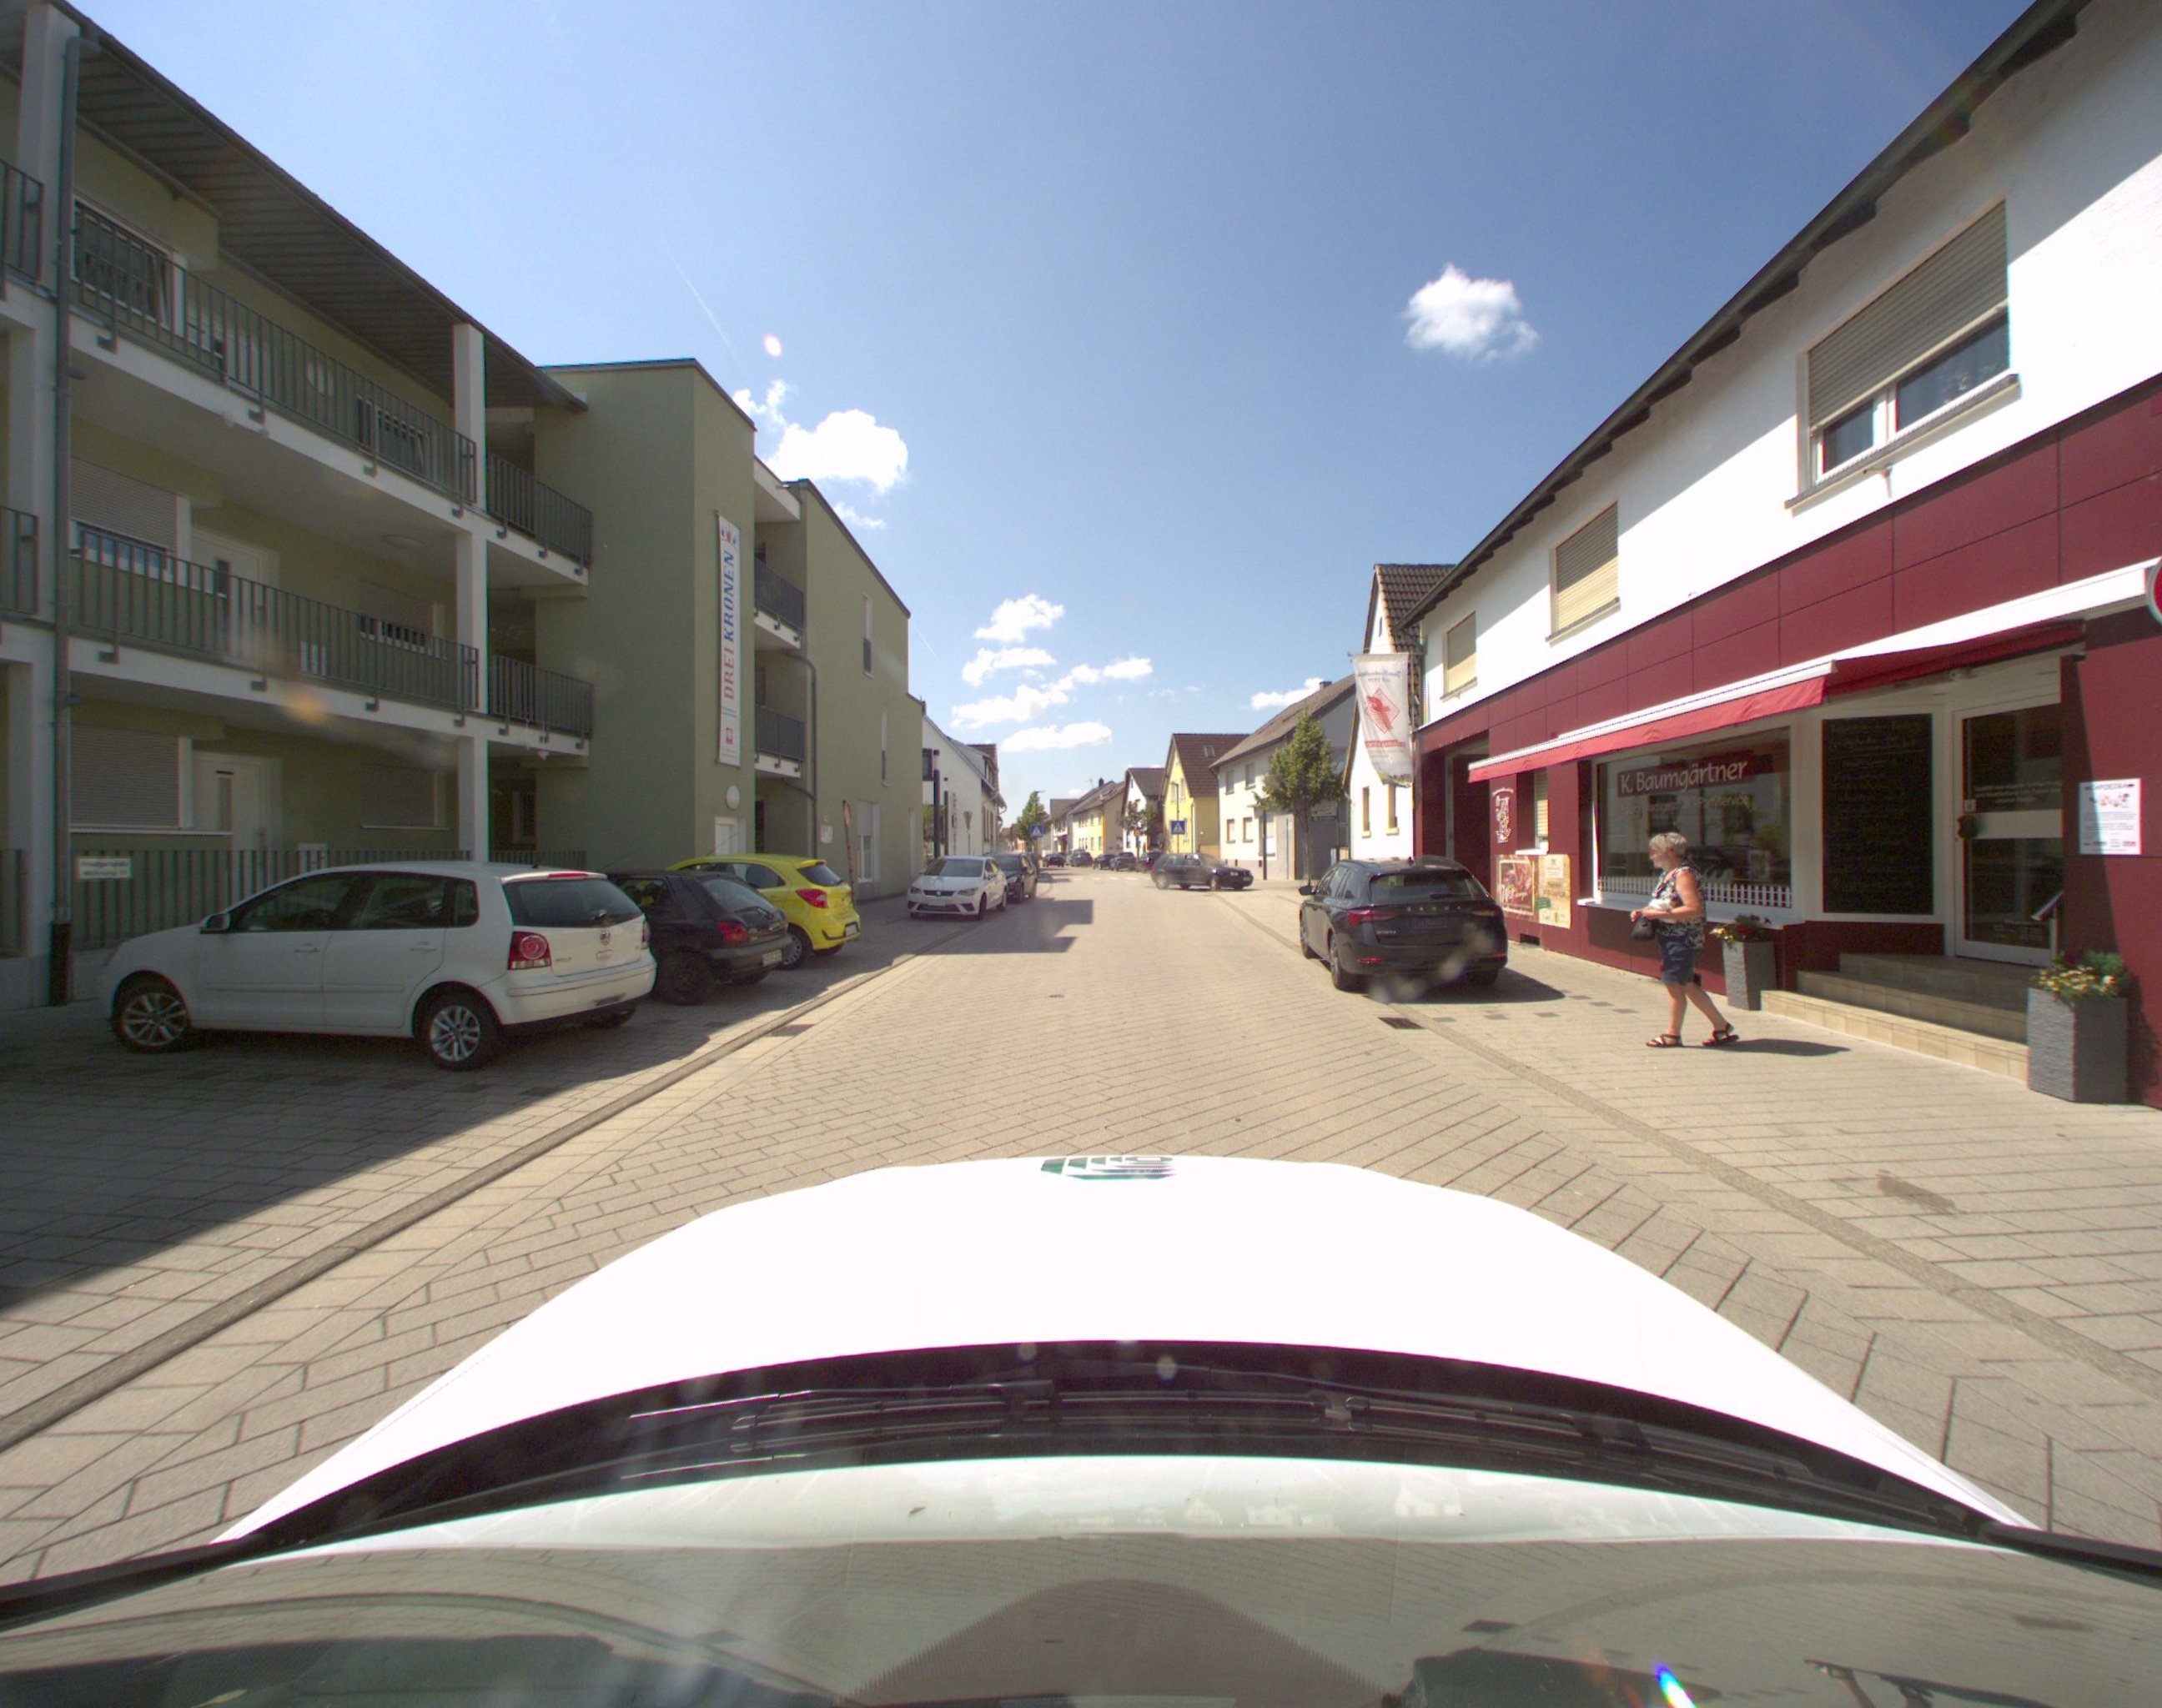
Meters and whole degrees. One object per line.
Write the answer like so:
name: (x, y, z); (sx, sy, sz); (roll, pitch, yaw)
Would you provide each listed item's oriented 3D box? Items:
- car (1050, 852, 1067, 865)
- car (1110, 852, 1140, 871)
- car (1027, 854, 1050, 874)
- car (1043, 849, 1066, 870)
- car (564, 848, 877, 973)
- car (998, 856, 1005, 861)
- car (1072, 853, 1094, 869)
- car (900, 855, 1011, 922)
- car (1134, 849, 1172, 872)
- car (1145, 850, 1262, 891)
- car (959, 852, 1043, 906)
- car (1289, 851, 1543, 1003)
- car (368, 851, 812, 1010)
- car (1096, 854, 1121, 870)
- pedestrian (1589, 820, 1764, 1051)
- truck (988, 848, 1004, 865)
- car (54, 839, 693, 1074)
car: (-2.866, 0.554, 102.956); (1.752, 1.493, 3.990); (-1, 0, -7)
car: (3.571, 0.597, 66.932); (1.845, 1.562, 3.685); (-1, 0, -7)
car: (-3.297, 0.746, 62.545); (1.744, 1.530, 3.994); (1, 0, -4)
car: (-2.793, 0.572, 84.693); (1.992, 2.058, 4.363); (-1, 0, -7)
car: (-5.029, 0.738, 11.646); (3.674, 1.525, 1.675); (2, 0, 5)
car: (-20.857, 1.201, 214.413); (1.687, 1.452, 3.781); (-1, 0, -9)
car: (0.226, 0.745, 88.094); (1.875, 1.591, 3.990); (-1, 0, -7)
car: (-2.947, 0.758, 19.974); (1.749, 1.411, 3.883); (1, 0, 5)
car: (5.031, 0.477, 57.537); (1.827, 1.471, 4.266); (-3, 0, -7)
car: (4.664, 0.631, 31.343); (4.066, 1.438, 1.776); (-2, 0, 39)
car: (-2.403, 0.717, 25.549); (1.805, 1.490, 4.283); (1, 0, 5)
car: (3.900, 0.734, 10.389); (1.848, 1.459, 4.596); (-3, 0, 8)
car: (-5.341, 0.768, 9.179); (3.968, 1.441, 1.693); (2, 0, 4)
car: (2.525, 0.717, 74.644); (1.709, 1.387, 3.697); (-1, 0, -7)
pedestrian: (4.546, 0.598, 6.283); (0.726, 1.640, 0.750); (-4, -1, 6)
truck: (-21.078, 0.653, 201.319); (3.564, 3.953, 8.553); (-1, 0, -10)
car: (-5.584, 0.704, 6.730); (3.881, 1.502, 1.754); (2, 0, 6)
